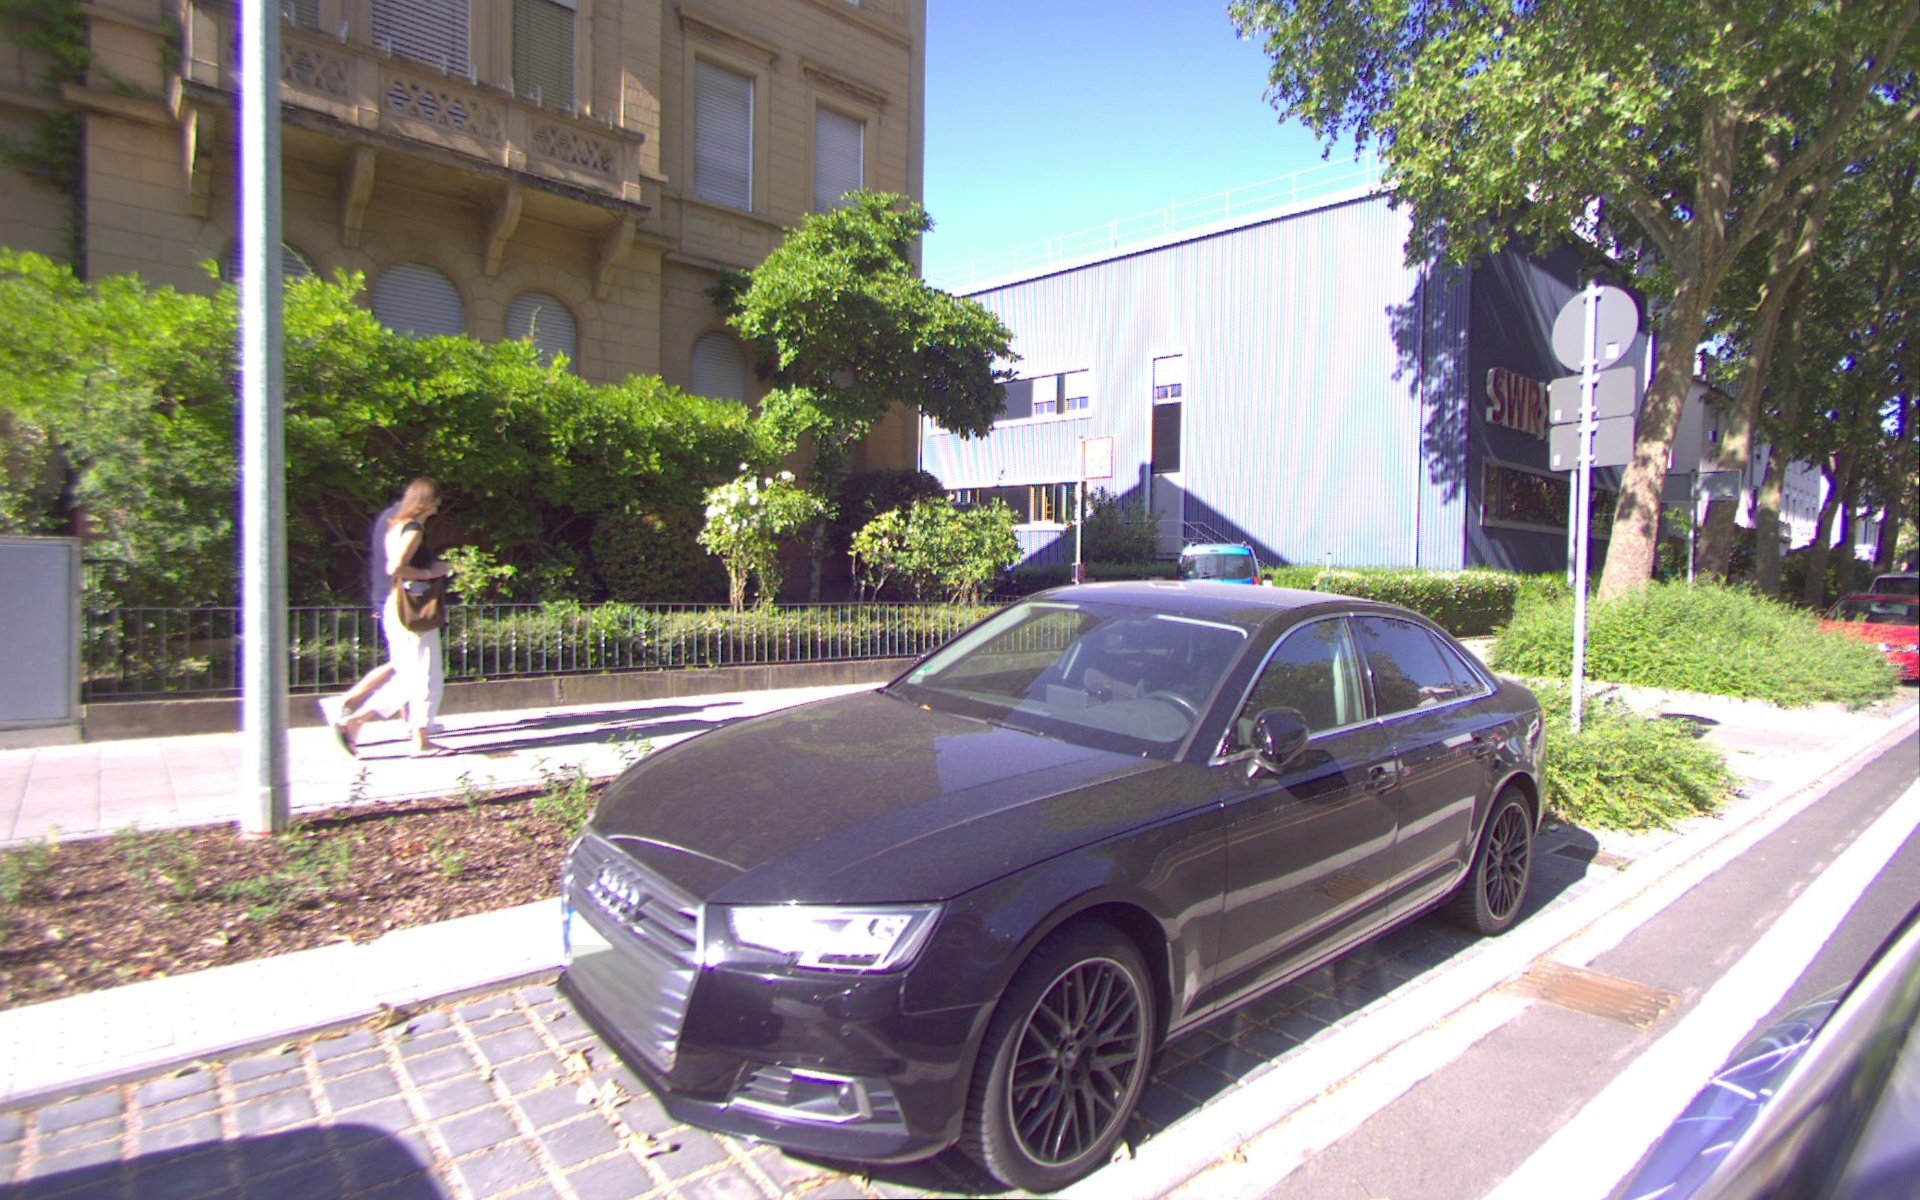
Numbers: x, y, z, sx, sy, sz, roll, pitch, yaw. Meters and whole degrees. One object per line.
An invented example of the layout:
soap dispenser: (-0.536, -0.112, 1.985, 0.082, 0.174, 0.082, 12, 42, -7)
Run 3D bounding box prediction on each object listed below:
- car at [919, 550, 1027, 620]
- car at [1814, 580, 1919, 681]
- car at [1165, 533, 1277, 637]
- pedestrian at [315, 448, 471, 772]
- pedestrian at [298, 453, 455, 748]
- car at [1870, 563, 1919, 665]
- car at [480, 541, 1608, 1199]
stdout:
car: (0.425, -0.426, 26.249, 1.776, 1.658, 3.979, 0, 2, 17)
car: (16.172, 0.462, 17.382, 3.928, 1.536, 1.673, 0, 2, -41)
car: (5.316, -0.343, 20.284, 1.777, 1.844, 3.975, 2, 2, 20)
pedestrian: (-3.464, 0.044, 6.175, 0.702, 1.818, 0.698, 0, 2, -41)
pedestrian: (-3.903, -0.009, 6.763, 0.788, 1.818, 0.698, 0, 2, -41)
car: (20.666, 0.267, 21.238, 4.428, 1.990, 1.752, 0, 2, -41)
car: (0.743, 0.590, 3.914, 4.398, 1.429, 1.720, -1, 5, -41)
